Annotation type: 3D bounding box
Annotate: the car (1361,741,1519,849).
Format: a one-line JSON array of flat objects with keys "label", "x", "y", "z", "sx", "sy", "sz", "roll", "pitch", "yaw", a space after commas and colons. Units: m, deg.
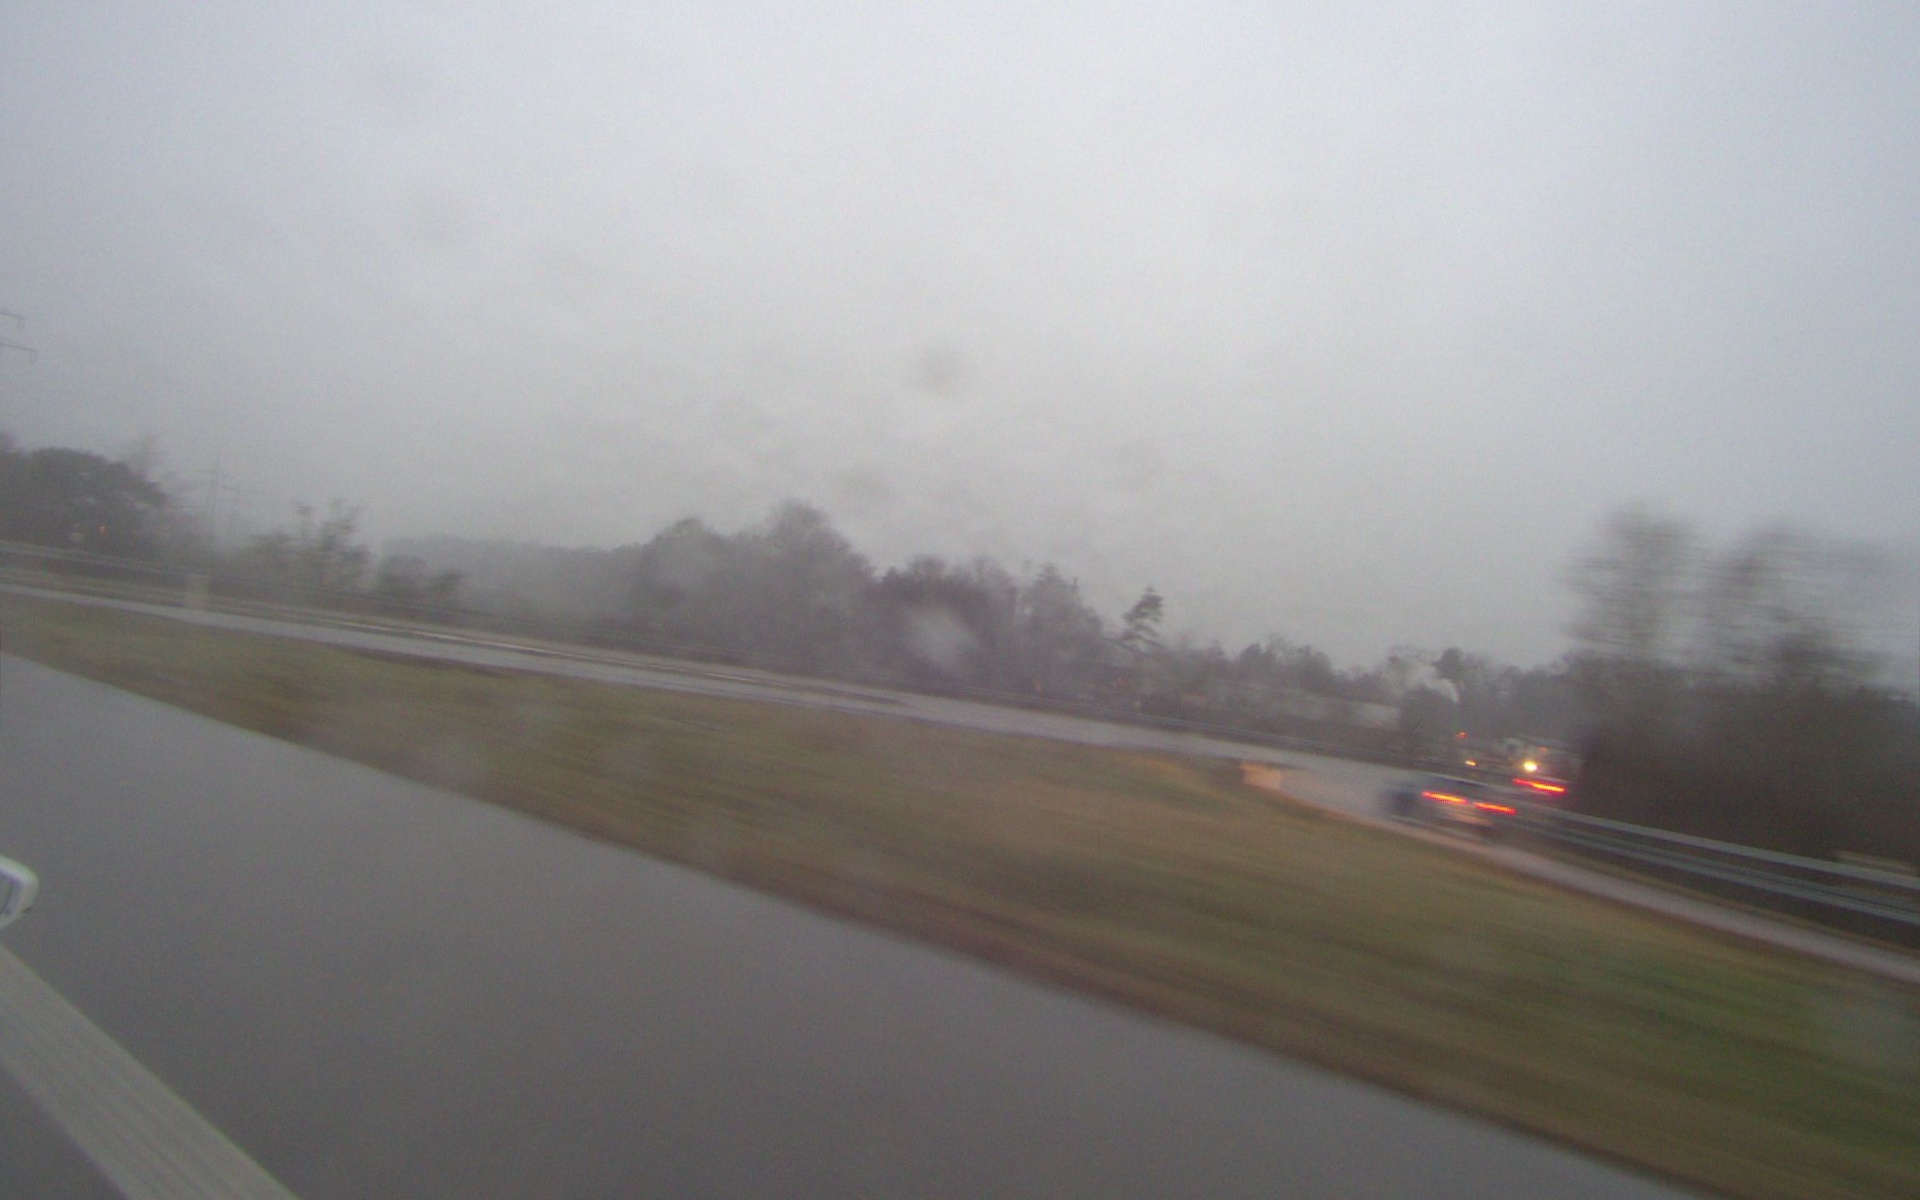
[{"label": "car", "x": 12.402, "y": 4.983, "z": 26.393, "sx": 1.962, "sy": 1.955, "sz": 4.918, "roll": 9, "pitch": -4, "yaw": 6}]
